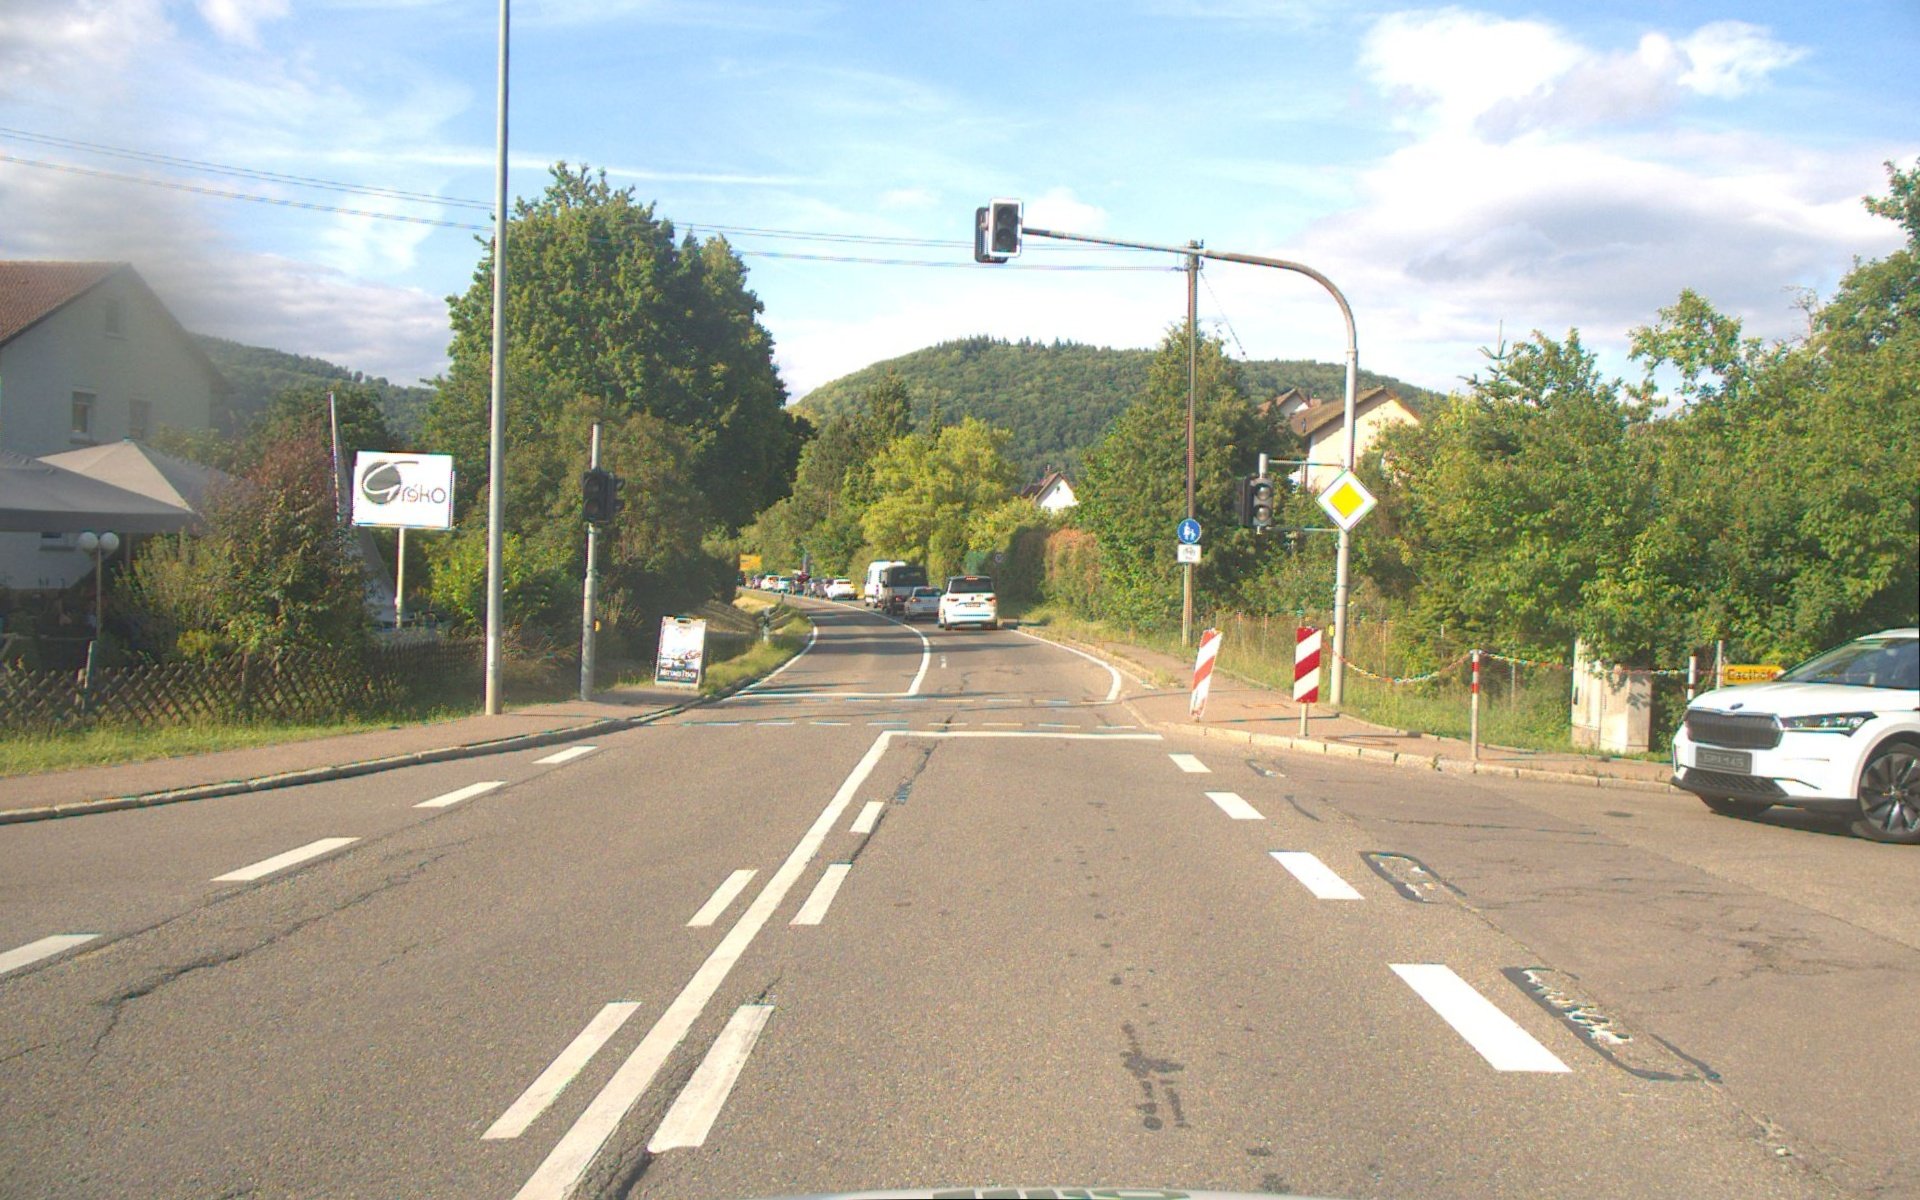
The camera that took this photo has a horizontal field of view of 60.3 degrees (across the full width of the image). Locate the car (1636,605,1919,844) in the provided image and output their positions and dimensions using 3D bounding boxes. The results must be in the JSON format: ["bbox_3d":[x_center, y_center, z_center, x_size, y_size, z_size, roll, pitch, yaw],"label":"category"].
[{"bbox_3d":[7.900,0.978,13.168,4.485,1.638,1.864,3,0,-18],"label":"car"}]

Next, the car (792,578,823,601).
[{"bbox_3d":[-12.854,-0.889,138.973,2.006,1.713,3.986,2,1,-14],"label":"car"}]

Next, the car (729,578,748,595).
[{"bbox_3d":[-24.593,-1.511,183.343,1.741,1.814,3.988,0,0,-12],"label":"car"}]

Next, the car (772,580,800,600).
[{"bbox_3d":[-15.586,-0.897,148.001,1.910,1.713,3.985,-1,0,-15],"label":"car"}]

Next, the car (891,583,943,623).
[{"bbox_3d":[-1.910,0.107,72.492,1.955,1.713,3.995,0,1,-7],"label":"car"}]

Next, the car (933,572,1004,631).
[{"bbox_3d":[0.266,0.011,60.290,1.956,1.909,4.864,2,1,-7],"label":"car"}]

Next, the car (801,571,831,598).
[{"bbox_3d":[-11.413,-1.229,130.922,1.957,2.049,3.990,0,1,-10],"label":"car"}]

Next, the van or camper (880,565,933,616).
[{"bbox_3d":[-2.670,-0.500,81.560,2.138,2.427,5.361,0,1,-7],"label":"van or camper"}]

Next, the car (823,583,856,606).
[{"bbox_3d":[-8.550,-0.383,117.190,1.787,1.579,3.988,0,1,-12],"label":"car"}]

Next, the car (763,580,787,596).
[{"bbox_3d":[-17.585,-1.135,156.993,1.908,1.449,3.988,0,1,-12],"label":"car"}]

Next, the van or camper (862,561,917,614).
[{"bbox_3d":[-4.132,-0.746,95.973,2.372,2.955,6.115,0,1,-11],"label":"van or camper"}]

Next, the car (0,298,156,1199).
[{"bbox_3d":[-2.413,0.575,0.213,1.952,1.937,5.254,-1,1,1],"label":"car"}]

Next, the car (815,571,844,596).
[{"bbox_3d":[-9.828,-1.266,124.379,1.764,1.825,3.989,0,1,-11],"label":"car"}]
